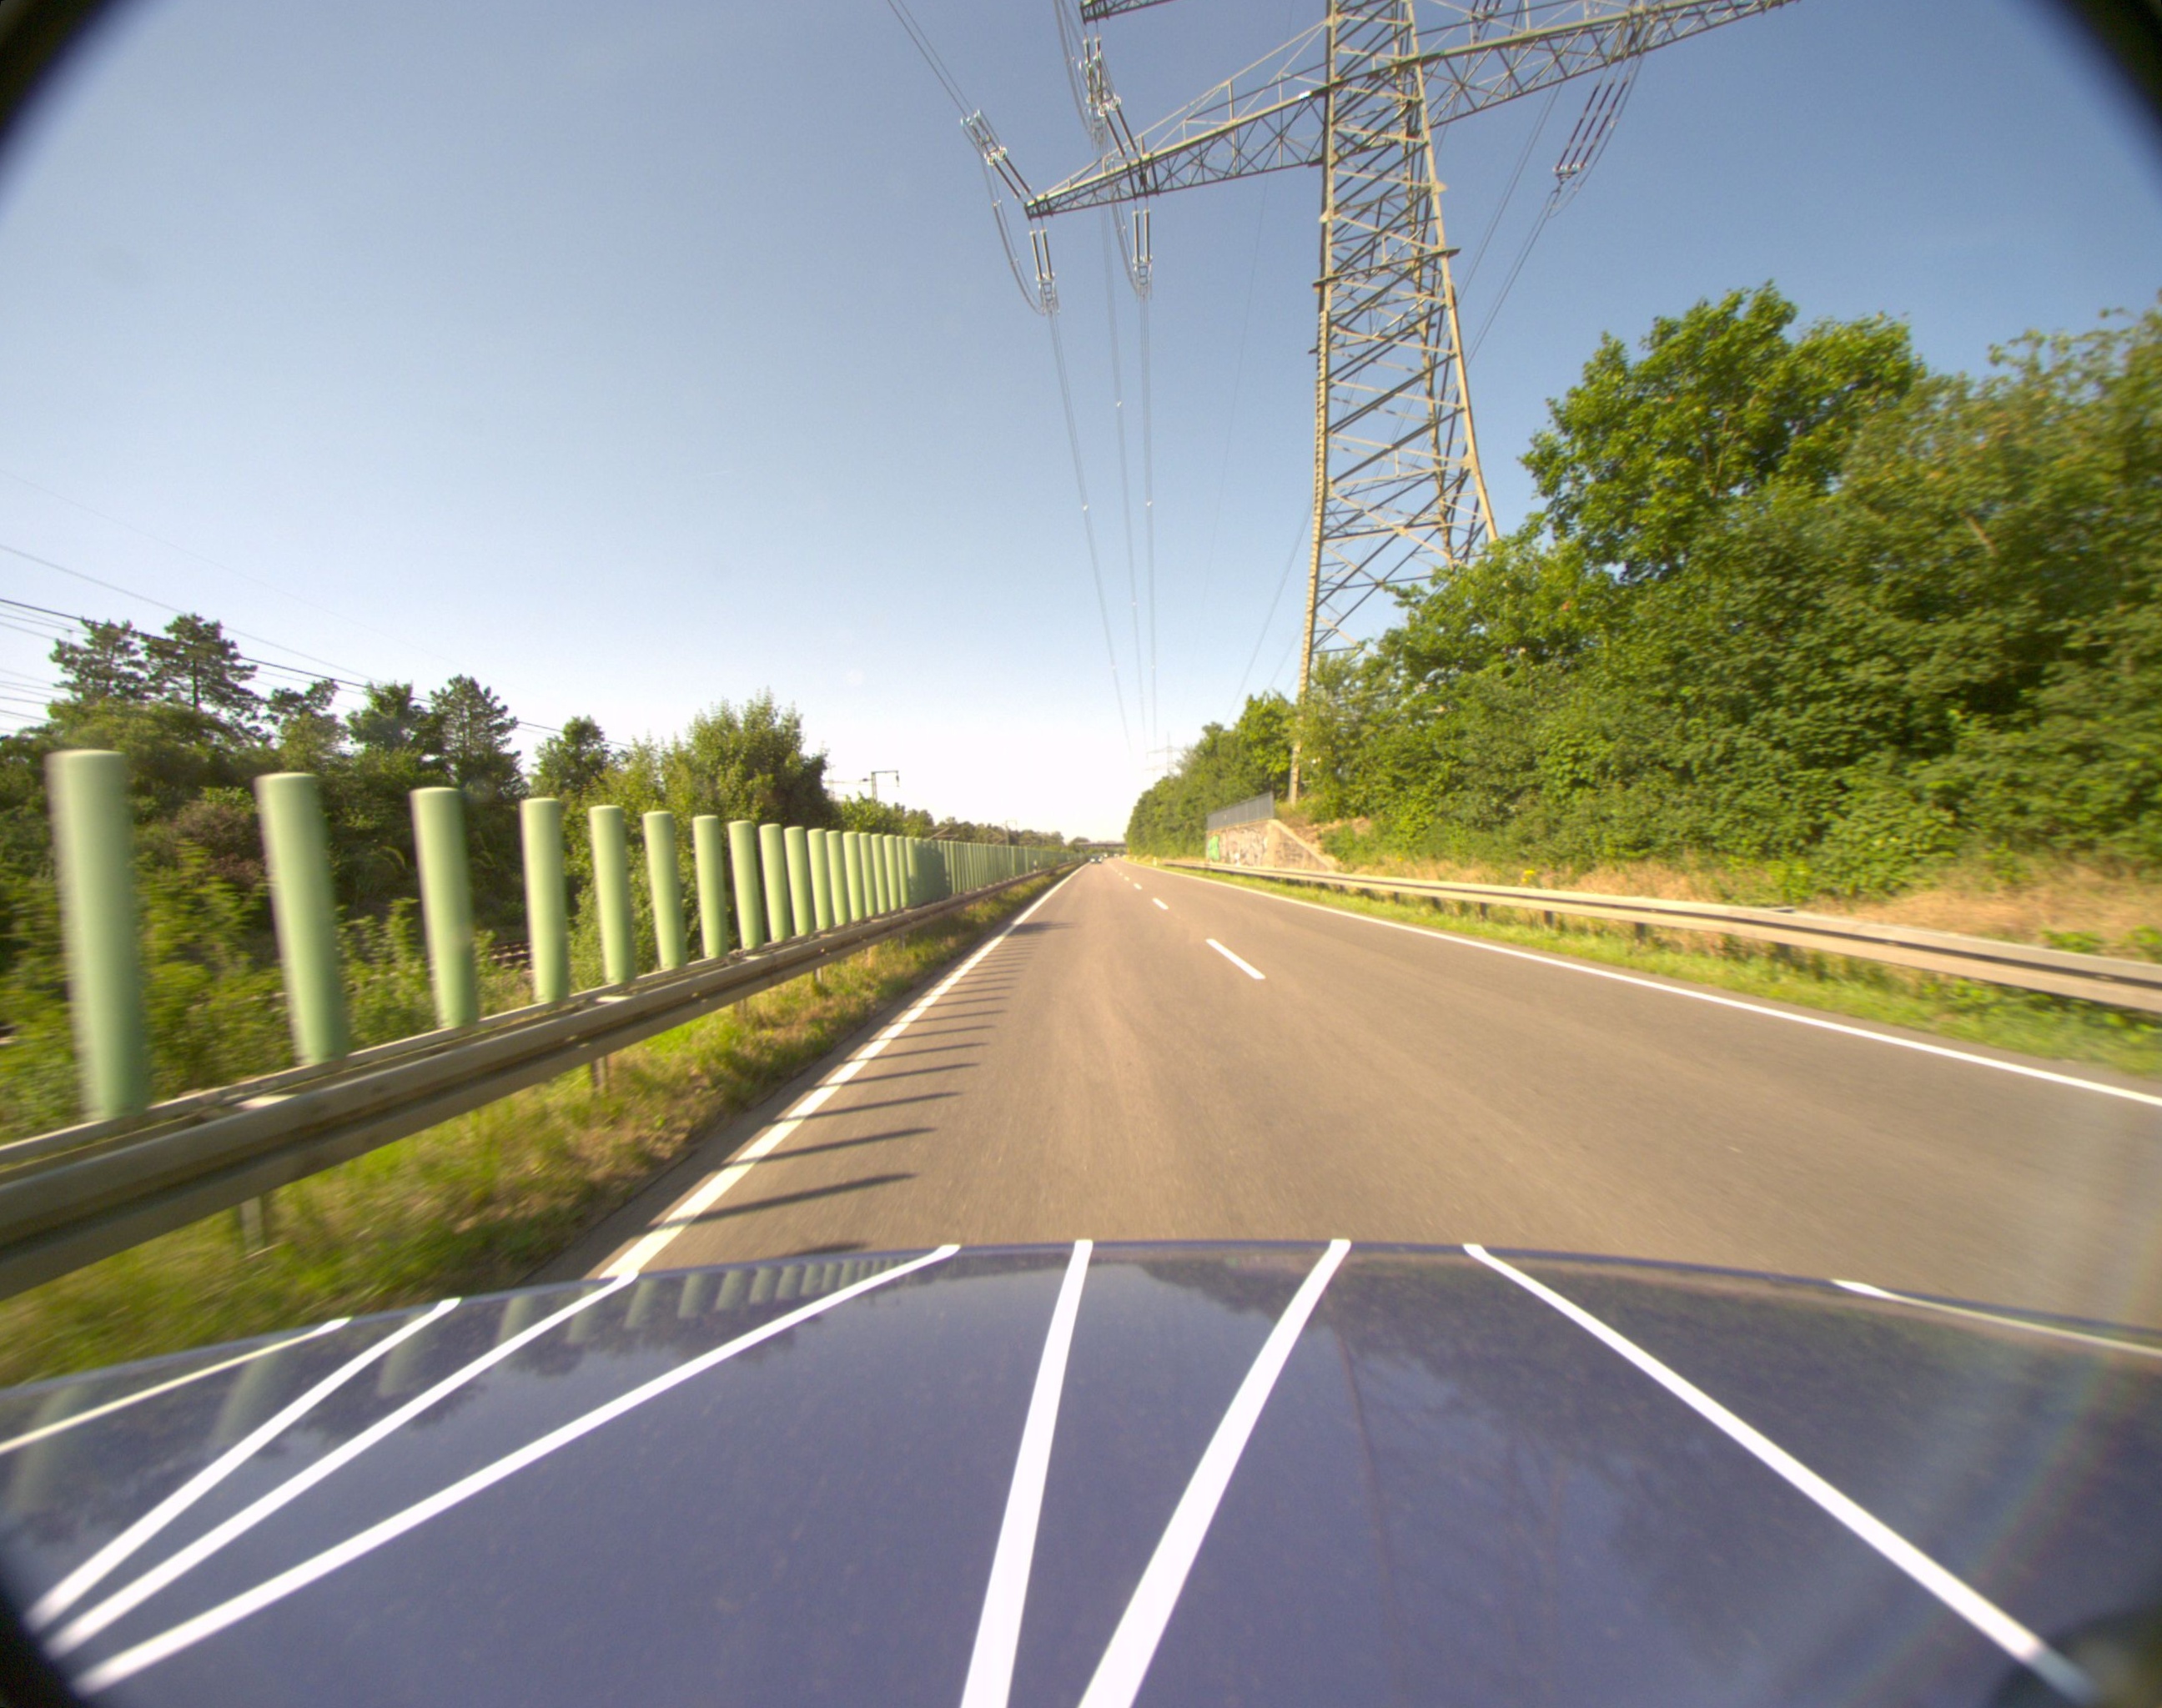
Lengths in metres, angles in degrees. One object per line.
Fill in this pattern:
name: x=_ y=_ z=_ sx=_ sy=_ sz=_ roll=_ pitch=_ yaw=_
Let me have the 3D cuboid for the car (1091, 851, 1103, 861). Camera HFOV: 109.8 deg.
car: x=2.735 y=0.302 z=128.950 sx=1.786 sy=1.550 sz=4.001 roll=-2 pitch=0 yaw=3
